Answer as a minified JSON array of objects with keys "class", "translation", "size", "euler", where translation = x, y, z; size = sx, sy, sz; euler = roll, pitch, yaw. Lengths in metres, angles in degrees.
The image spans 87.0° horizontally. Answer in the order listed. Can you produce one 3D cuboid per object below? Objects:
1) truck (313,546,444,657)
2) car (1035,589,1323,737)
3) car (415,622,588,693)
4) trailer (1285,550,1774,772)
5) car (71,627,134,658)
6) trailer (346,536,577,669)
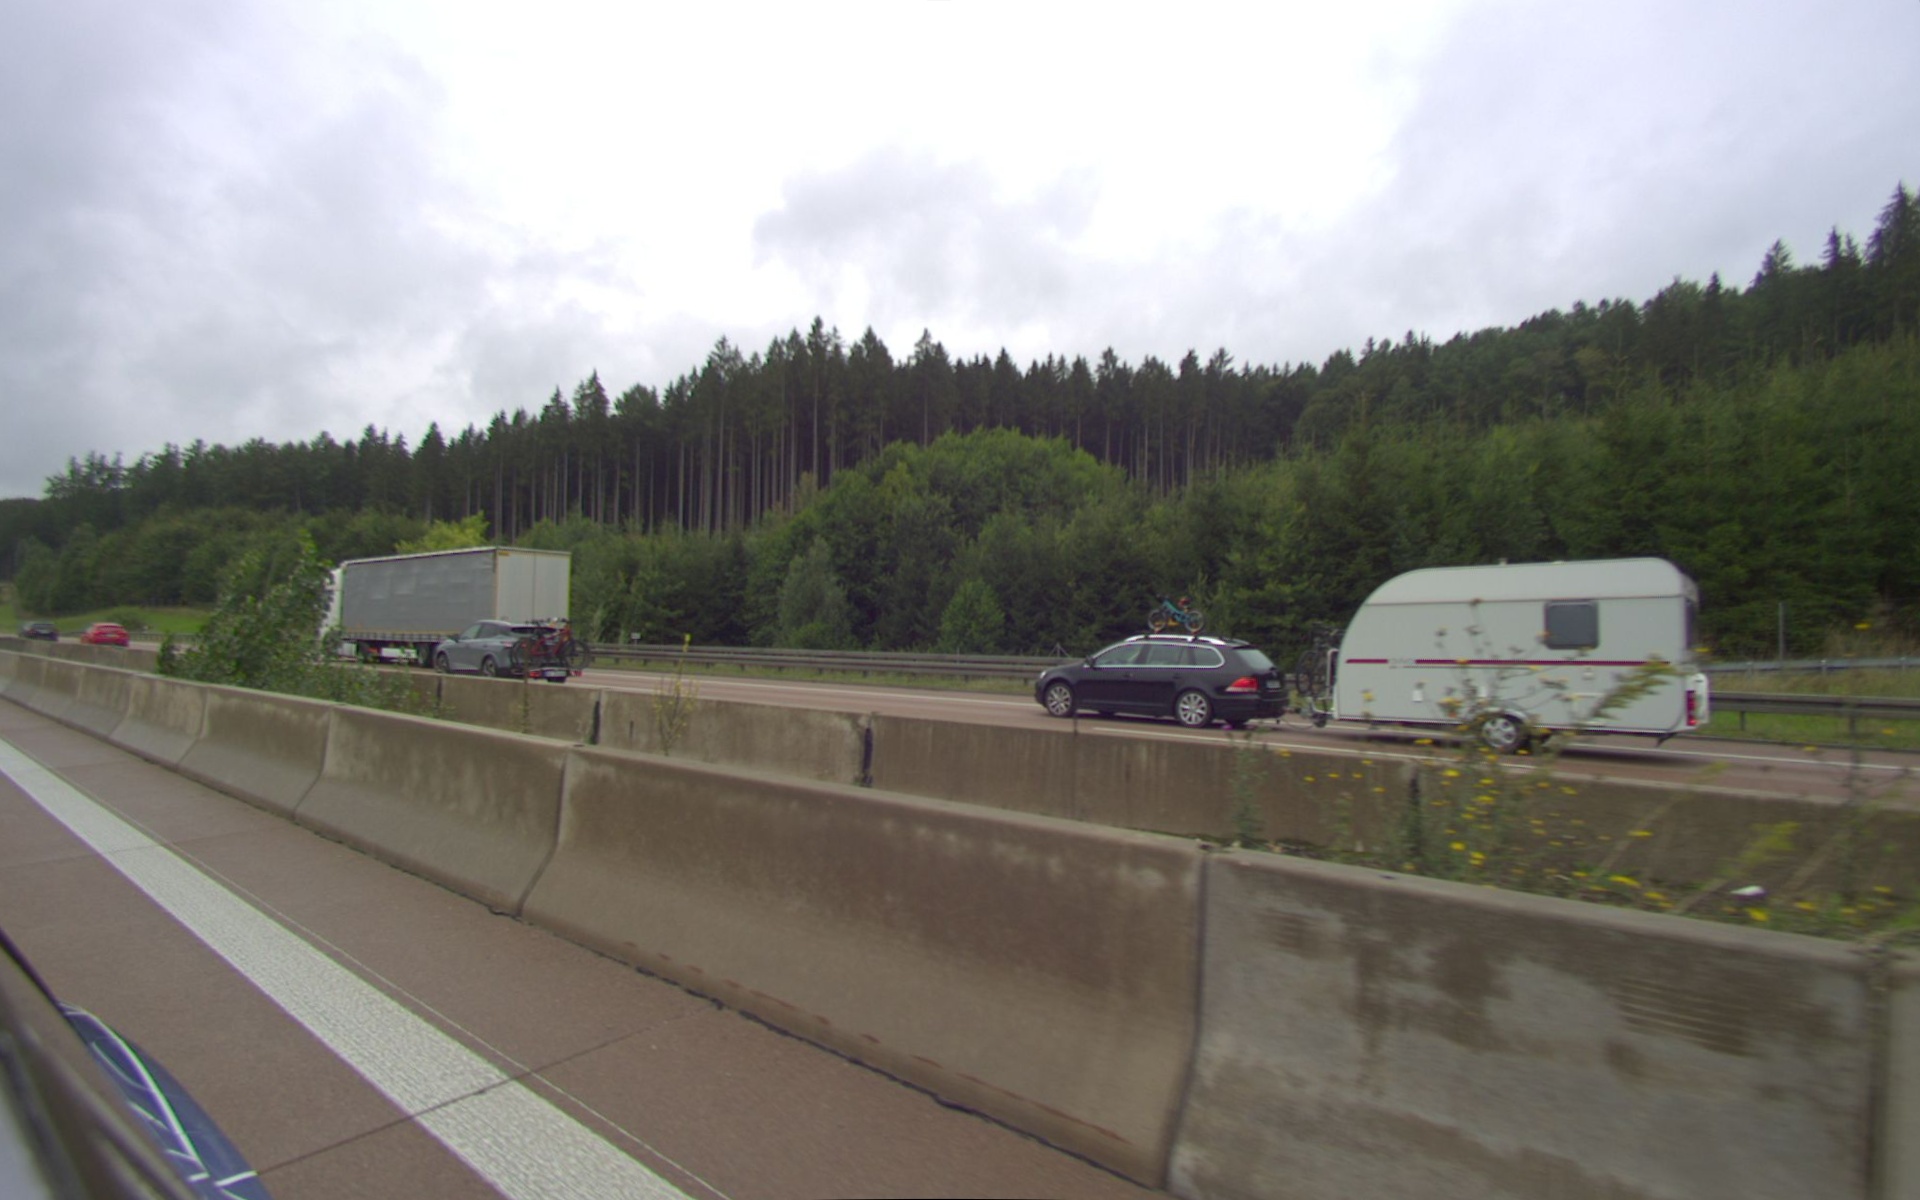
[{"class":"truck","translation":[-23.869,0.084,41.443],"size":[5.998,4.207,2.740],"euler":[0,-2,41]},{"class":"car","translation":[3.569,1.001,16.973],"size":[4.425,2.169,1.740],"euler":[-1,-3,40]},{"class":"car","translation":[-11.434,1.349,25.007],"size":[5.674,1.569,1.674],"euler":[-1,-3,41]},{"class":"trailer","translation":[7.488,0.775,13.731],"size":[5.434,2.430,2.253],"euler":[-2,-4,41]},{"class":"car","translation":[-47.351,2.330,55.864],"size":[4.277,1.557,1.973],"euler":[0,-2,41]},{"class":"trailer","translation":[-18.454,0.101,36.734],"size":[12.749,4.171,2.710],"euler":[0,-2,41]}]
